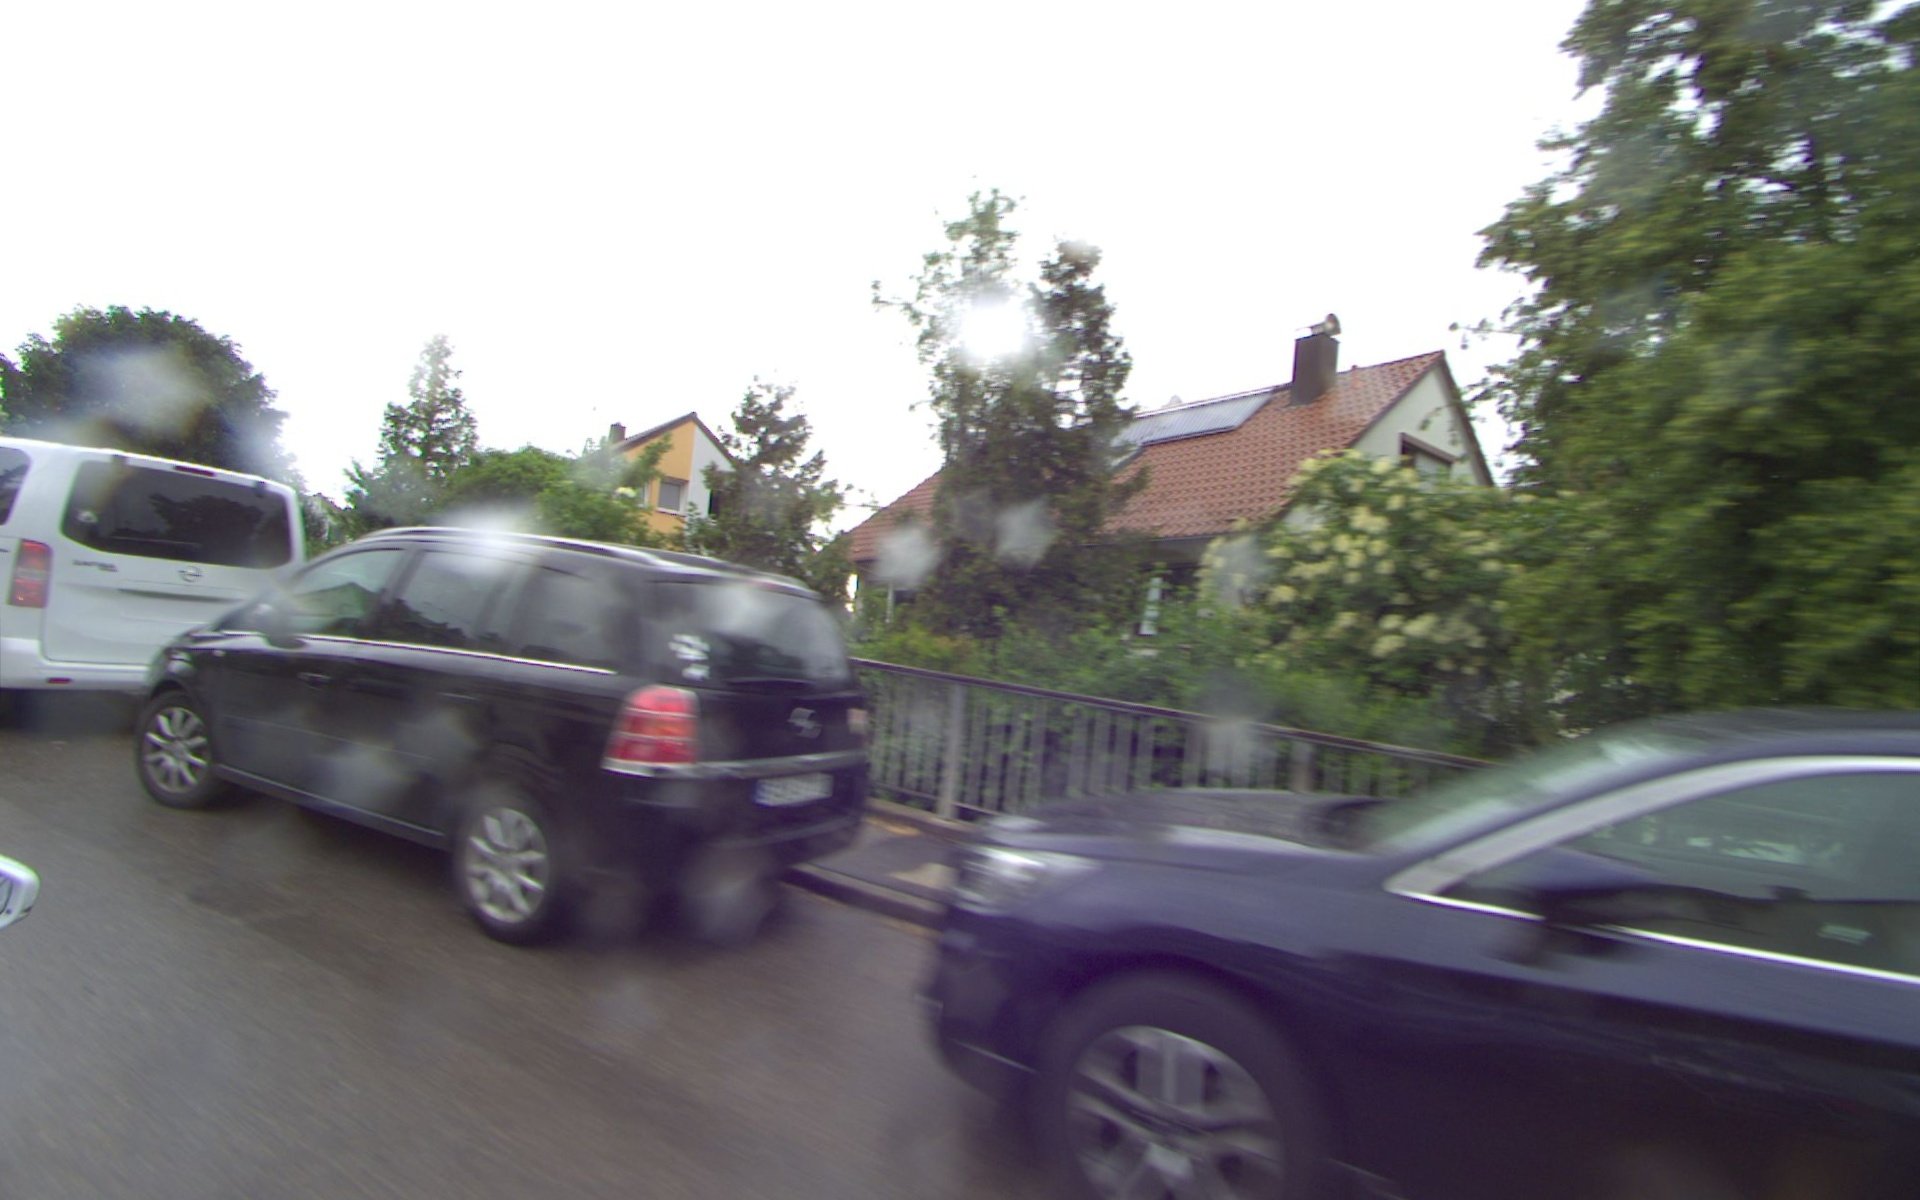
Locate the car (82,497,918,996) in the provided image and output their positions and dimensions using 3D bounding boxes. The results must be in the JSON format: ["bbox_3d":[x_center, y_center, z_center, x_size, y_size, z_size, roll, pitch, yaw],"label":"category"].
[{"bbox_3d":[-2.552,0.487,5.316,4.278,1.559,1.649,7,-1,28],"label":"car"}]

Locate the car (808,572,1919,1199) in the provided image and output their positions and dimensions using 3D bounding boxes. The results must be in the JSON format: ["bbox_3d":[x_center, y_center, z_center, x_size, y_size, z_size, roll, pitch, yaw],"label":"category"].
[{"bbox_3d":[2.084,0.984,2.536,4.644,1.524,1.819,7,-1,30],"label":"car"}]

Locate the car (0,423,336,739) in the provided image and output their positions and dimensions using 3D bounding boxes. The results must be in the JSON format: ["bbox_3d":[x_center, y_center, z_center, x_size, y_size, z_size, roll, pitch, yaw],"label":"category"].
[{"bbox_3d":[-7.424,-0.278,7.954,4.824,1.904,1.854,7,-1,27],"label":"car"}]
